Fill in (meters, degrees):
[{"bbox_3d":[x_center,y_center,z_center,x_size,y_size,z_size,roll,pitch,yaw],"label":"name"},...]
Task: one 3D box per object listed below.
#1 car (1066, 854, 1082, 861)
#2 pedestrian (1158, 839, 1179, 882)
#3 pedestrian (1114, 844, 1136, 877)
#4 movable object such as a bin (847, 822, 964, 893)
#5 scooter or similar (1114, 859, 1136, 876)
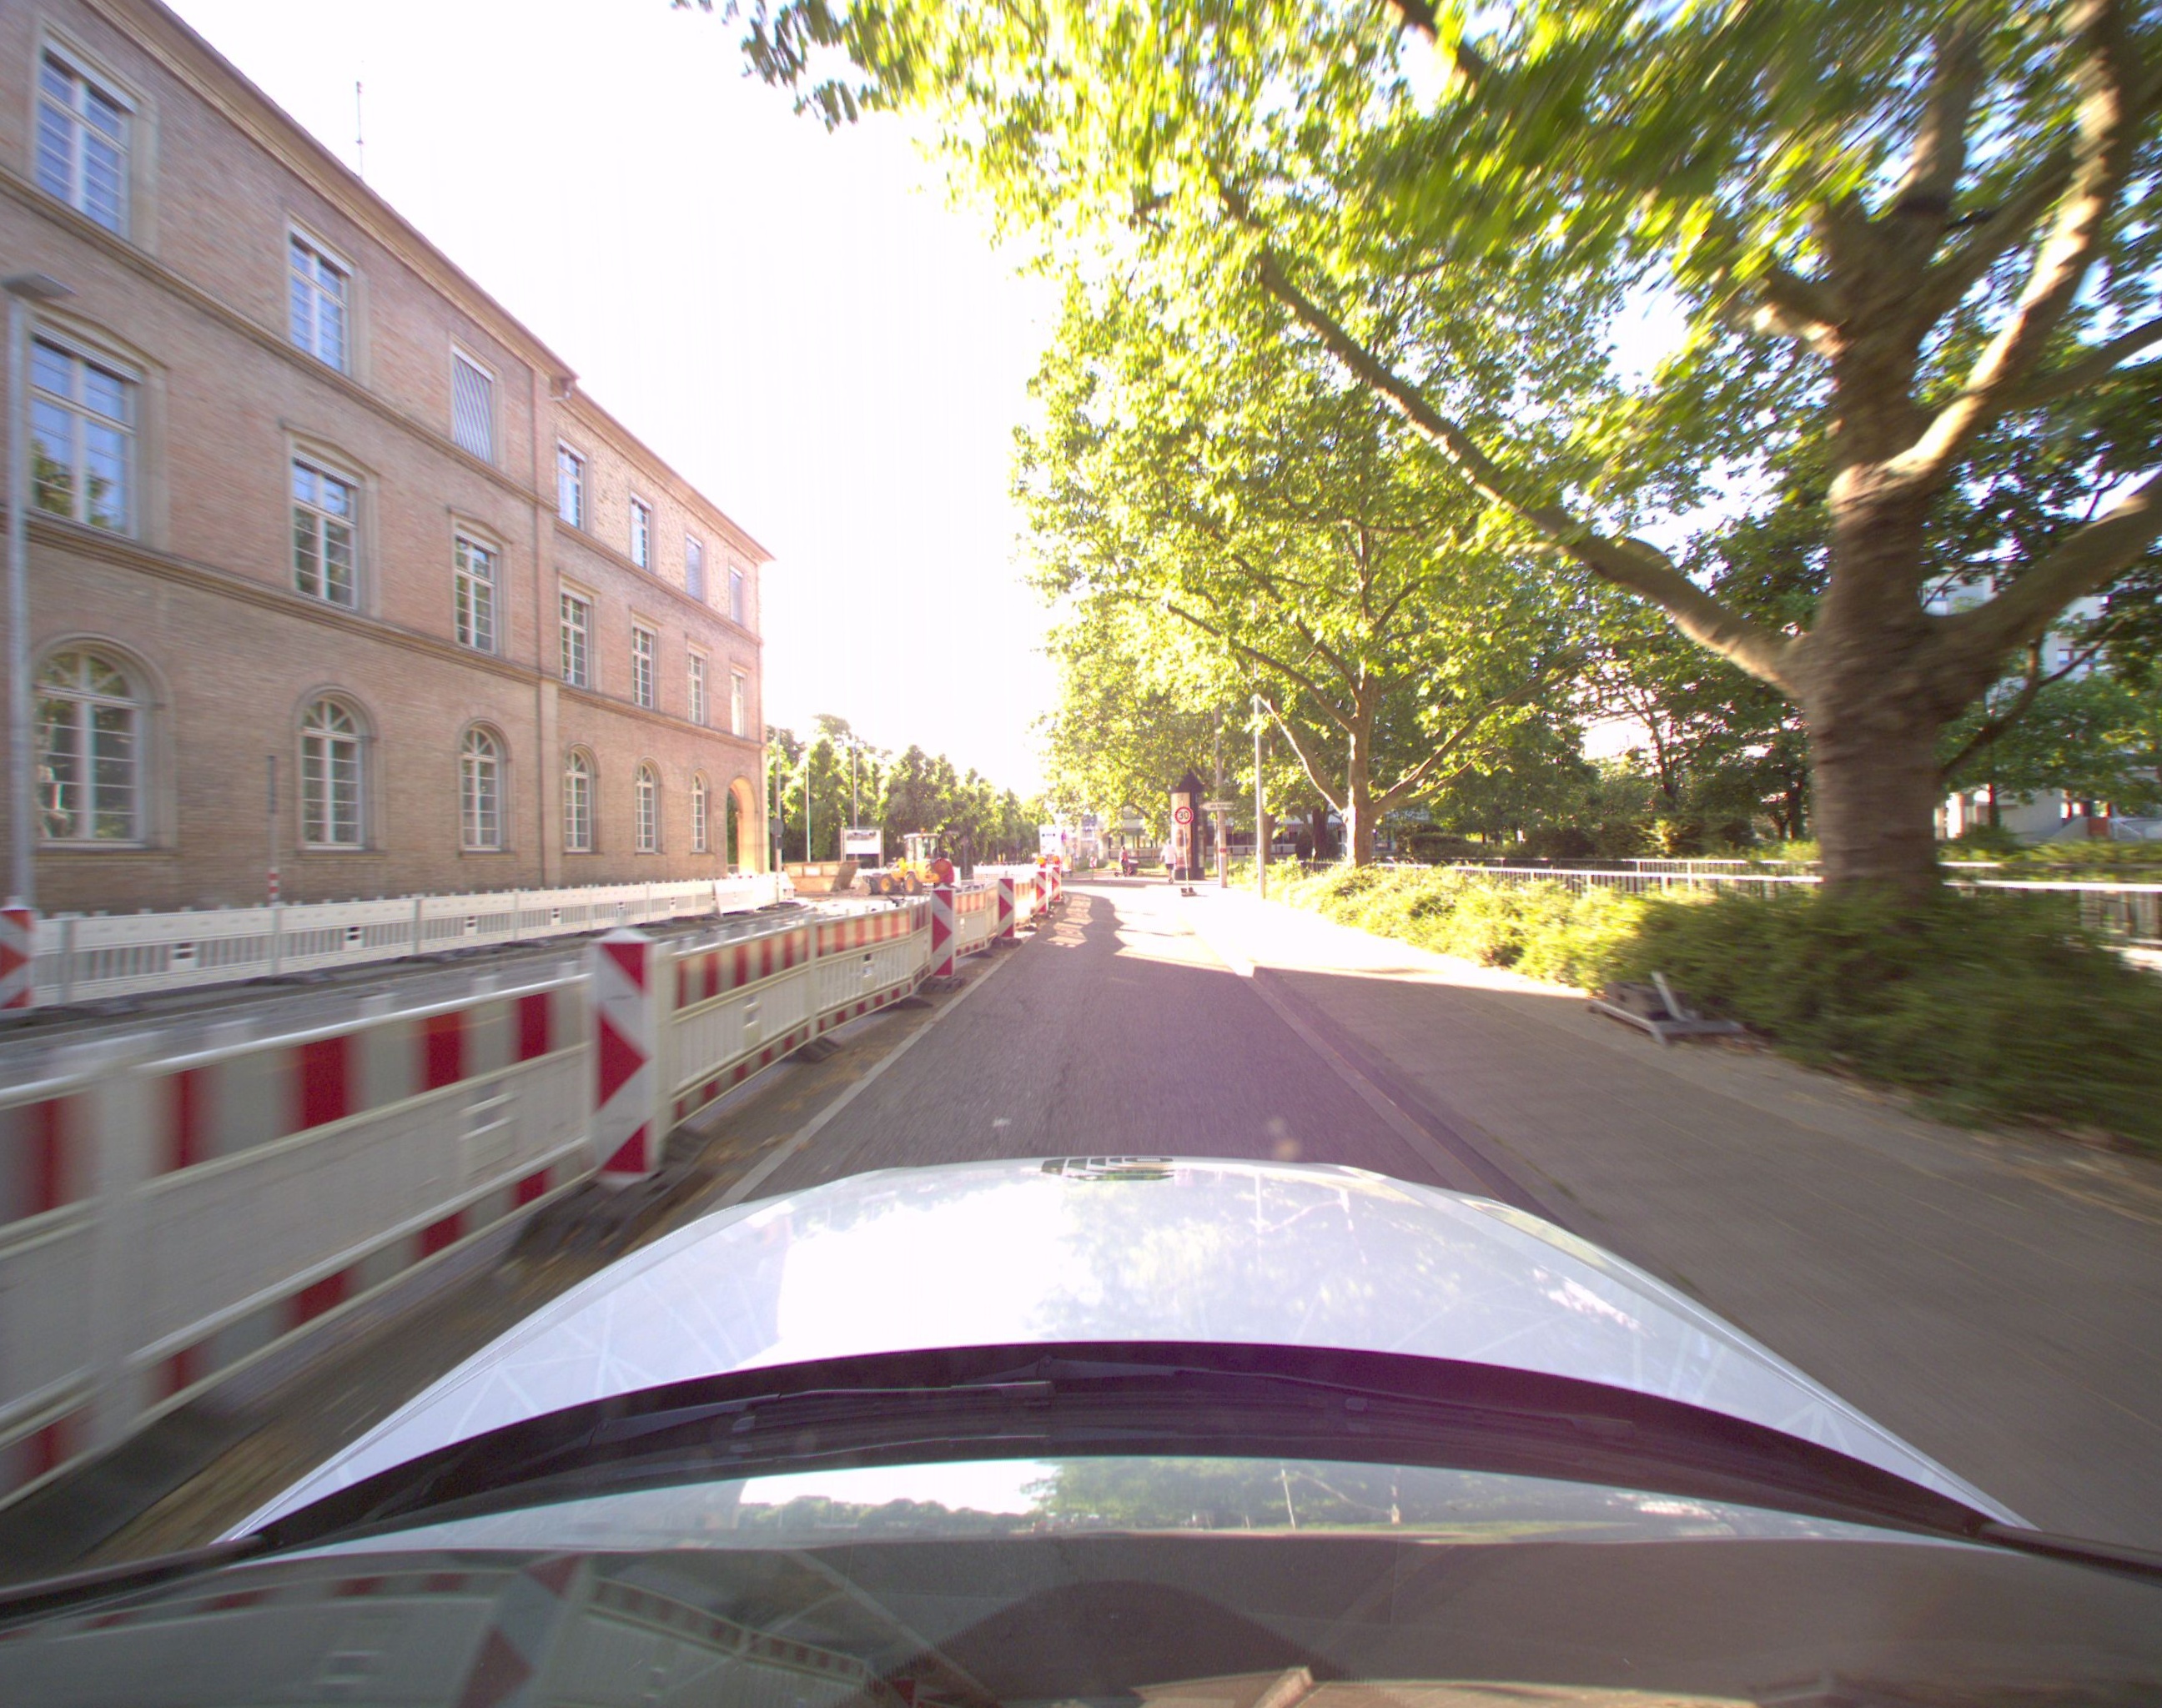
[{"bbox_3d":[-2.007,1.049,233.230,4.541,1.790,2.000,-1,0,1],"label":"car"},{"bbox_3d":[3.737,0.275,34.834,0.743,1.812,1.133,0,2,-3],"label":"pedestrian"},{"bbox_3d":[2.241,0.330,41.713,0.712,1.623,0.930,-1,-1,-29],"label":"pedestrian"},{"bbox_3d":[-8.302,0.213,38.135,2.582,3.031,5.858,-2,0,-44],"label":"movable object such as a bin"},{"bbox_3d":[2.494,0.749,46.196,1.145,0.914,0.419,-3,-1,-6],"label":"scooter or similar"}]
